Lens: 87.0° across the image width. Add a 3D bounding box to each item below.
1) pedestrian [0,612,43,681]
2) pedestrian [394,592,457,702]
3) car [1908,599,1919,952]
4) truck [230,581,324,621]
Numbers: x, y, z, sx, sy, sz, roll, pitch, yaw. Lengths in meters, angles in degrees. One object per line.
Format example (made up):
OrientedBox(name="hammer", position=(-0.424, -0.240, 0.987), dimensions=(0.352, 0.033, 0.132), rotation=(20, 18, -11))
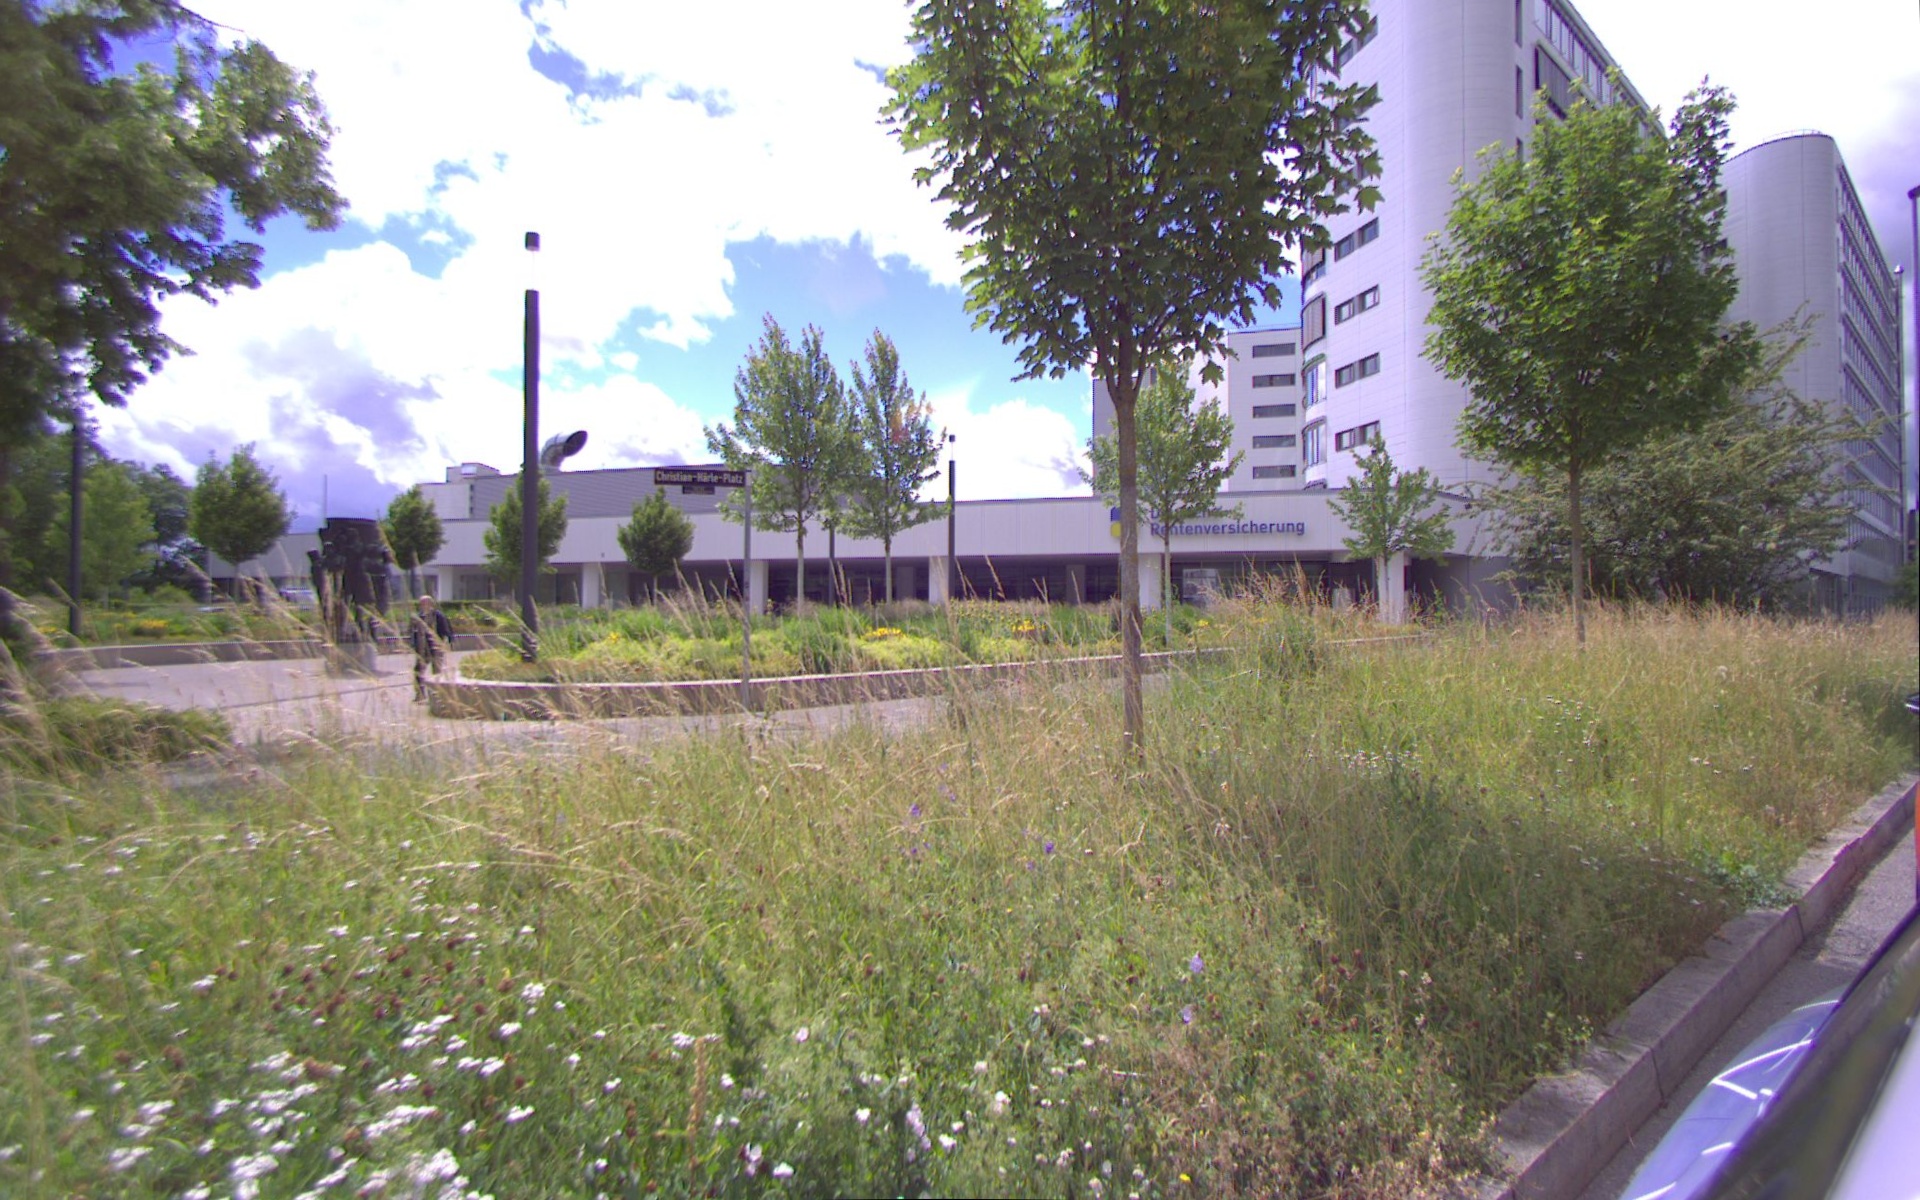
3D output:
OrientedBox(name="pedestrian", position=(-17.402, 0.850, 18.690), dimensions=(0.621, 1.238, 0.620), rotation=(0, 0, -36))
OrientedBox(name="pedestrian", position=(-8.263, 0.709, 15.664), dimensions=(0.756, 1.646, 0.766), rotation=(1, 0, -20))
OrientedBox(name="car", position=(5.814, 0.743, 4.640), dimensions=(3.611, 1.434, 1.748), rotation=(0, 1, -41))
OrientedBox(name="truck", position=(-36.140, 0.046, 53.575), dimensions=(3.941, 2.039, 1.991), rotation=(1, 0, 14))
